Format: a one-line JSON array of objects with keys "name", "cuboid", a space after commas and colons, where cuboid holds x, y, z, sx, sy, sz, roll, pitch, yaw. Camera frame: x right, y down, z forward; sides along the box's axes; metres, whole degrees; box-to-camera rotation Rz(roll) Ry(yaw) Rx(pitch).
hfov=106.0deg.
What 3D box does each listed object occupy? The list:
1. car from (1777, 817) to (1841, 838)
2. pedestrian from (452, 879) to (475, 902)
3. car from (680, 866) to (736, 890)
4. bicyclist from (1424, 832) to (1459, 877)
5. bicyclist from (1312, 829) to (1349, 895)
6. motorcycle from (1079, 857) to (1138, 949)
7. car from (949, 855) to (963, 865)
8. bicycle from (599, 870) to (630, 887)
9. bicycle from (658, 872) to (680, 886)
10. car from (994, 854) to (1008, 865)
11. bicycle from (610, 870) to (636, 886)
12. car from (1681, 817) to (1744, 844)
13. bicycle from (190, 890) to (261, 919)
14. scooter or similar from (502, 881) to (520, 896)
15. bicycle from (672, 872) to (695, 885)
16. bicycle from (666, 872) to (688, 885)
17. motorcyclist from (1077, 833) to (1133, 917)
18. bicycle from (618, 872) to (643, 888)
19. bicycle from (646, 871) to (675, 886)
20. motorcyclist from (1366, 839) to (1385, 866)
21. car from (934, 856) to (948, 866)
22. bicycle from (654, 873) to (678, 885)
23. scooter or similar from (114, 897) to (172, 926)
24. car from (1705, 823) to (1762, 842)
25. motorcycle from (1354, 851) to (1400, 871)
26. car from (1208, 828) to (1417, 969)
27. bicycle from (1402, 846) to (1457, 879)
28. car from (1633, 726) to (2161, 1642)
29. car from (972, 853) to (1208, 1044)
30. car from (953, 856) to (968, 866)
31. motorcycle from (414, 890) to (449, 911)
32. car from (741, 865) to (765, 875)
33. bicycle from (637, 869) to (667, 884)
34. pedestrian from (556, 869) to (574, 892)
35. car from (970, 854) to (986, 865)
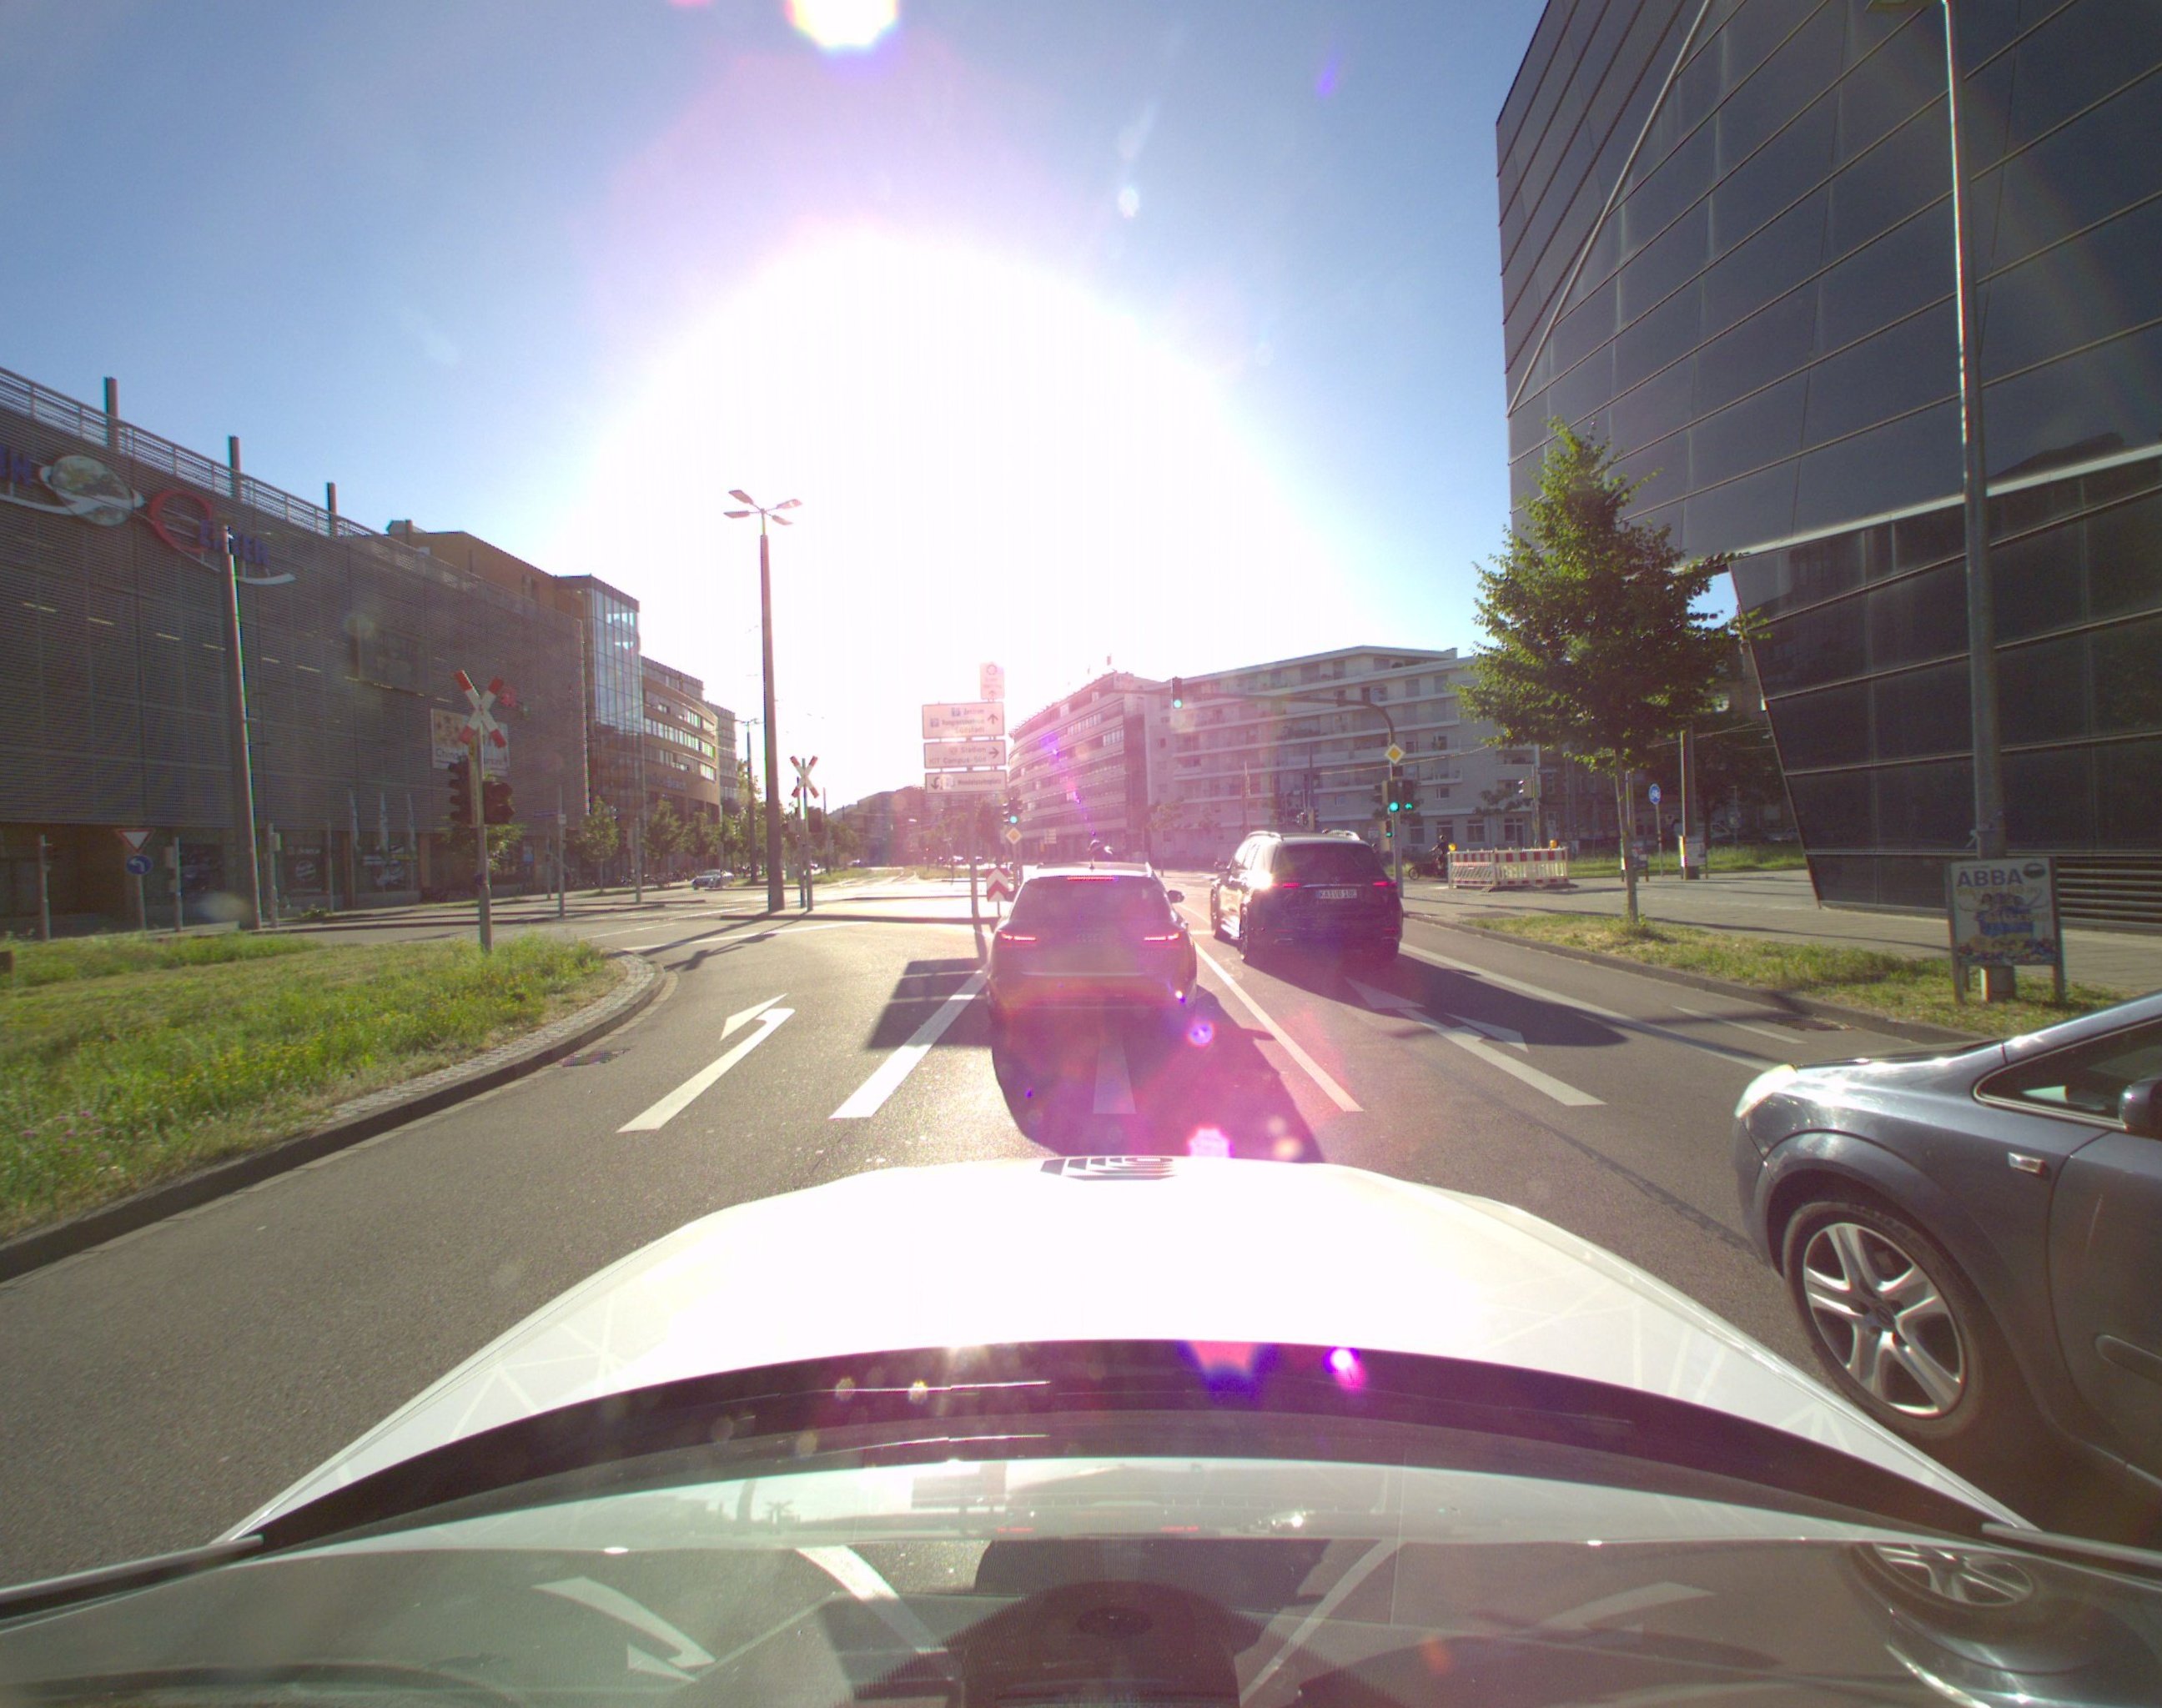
[{"name": "car", "cuboid": [58.519, -2.100, 65.569, 1.981, 1.486, 4.012, -3, -1, 11]}, {"name": "pedestrian", "cuboid": [-44.251, 2.611, 58.347, 0.984, 1.566, 0.829, -3, -1, 1]}, {"name": "car", "cuboid": [-27.886, 1.747, 61.100, 1.987, 1.545, 4.530, -2, 0, 0]}, {"name": "bicyclist", "cuboid": [14.197, 0.013, 32.074, 0.769, 1.706, 0.923, -2, 0, -22]}, {"name": "bicyclist", "cuboid": [6.376, 0.200, 20.861, 0.651, 1.642, 0.973, -2, 0, 5]}, {"name": "motorcycle", "cuboid": [0.461, 0.763, 13.559, 0.859, 1.393, 1.894, -2, 0, 2]}, {"name": "car", "cuboid": [-22.468, 1.096, 146.370, 1.998, 1.706, 3.977, -3, -1, -16]}, {"name": "bicycle", "cuboid": [-43.863, 2.300, 76.559, 2.355, 1.433, 1.079, -3, -1, 10]}, {"name": "bicycle", "cuboid": [-47.371, 2.887, 93.572, 2.231, 1.433, 0.720, -3, -1, 10]}, {"name": "car", "cuboid": [-14.707, 1.080, 150.008, 1.996, 1.838, 3.981, -3, -1, -14]}, {"name": "bicycle", "cuboid": [-43.667, 2.270, 77.629, 2.070, 1.433, 0.863, -3, -1, 10]}, {"name": "car", "cuboid": [58.872, -2.151, 76.027, 4.543, 2.310, 2.013, -2, 0, 37]}, {"name": "bicycle", "cuboid": [-41.883, 2.467, 39.919, 0.796, 1.220, 2.418, -2, 0, 5]}, {"name": "scooter or similar", "cuboid": [-42.947, 2.594, 61.377, 0.419, 1.110, 1.153, -3, -1, 2]}, {"name": "bicycle", "cuboid": [-47.256, 2.912, 96.784, 2.405, 1.433, 0.791, -3, -1, 10]}, {"name": "bicycle", "cuboid": [-47.423, 2.855, 95.613, 2.125, 1.433, 0.761, -3, -1, 10]}, {"name": "motorcyclist", "cuboid": [0.399, 0.344, 13.527, 0.859, 1.326, 0.681, -2, 0, 1]}, {"name": "bicycle", "cuboid": [-43.580, 2.482, 78.734, 1.965, 1.433, 0.809, -3, -1, 10]}, {"name": "bicycle", "cuboid": [-43.778, 2.553, 84.775, 2.546, 1.433, 0.907, -3, -1, 10]}, {"name": "motorcyclist", "cuboid": [17.035, -0.098, 47.164, 0.917, 1.481, 1.177, -2, 0, 18]}, {"name": "car", "cuboid": [-25.097, 1.286, 145.758, 1.998, 1.706, 3.977, -3, -1, -16]}, {"name": "bicycle", "cuboid": [-47.251, 2.884, 92.719, 2.399, 1.236, 0.747, -3, -1, 10]}, {"name": "scooter or similar", "cuboid": [-43.719, 2.677, 37.979, 0.790, 1.207, 1.575, -3, -1, 2]}, {"name": "car", "cuboid": [54.204, -1.757, 67.765, 1.981, 1.354, 4.012, -3, -1, 11]}, {"name": "motorcycle", "cuboid": [17.102, 0.403, 47.164, 2.433, 1.000, 1.177, -2, 0, 17]}, {"name": "car", "cuboid": [3.181, 0.531, 12.187, 1.995, 1.715, 4.374, 0, 0, 2]}, {"name": "bicycle", "cuboid": [13.953, 0.355, 32.692, 0.769, 1.262, 2.067, -2, 0, -21]}, {"name": "car", "cuboid": [2.858, 0.610, 0.859, 1.739, 1.696, 4.261, 0, 0, 1]}, {"name": "car", "cuboid": [0.120, 0.734, 8.355, 1.835, 1.454, 4.001, 0, 0, 1]}, {"name": "car", "cuboid": [-20.791, 1.232, 140.408, 1.996, 1.596, 3.981, -3, -1, -14]}, {"name": "motorcycle", "cuboid": [-41.767, 2.968, 52.392, 0.673, 1.238, 1.894, -3, -1, 1]}, {"name": "car", "cuboid": [-63.628, 3.080, 157.871, 4.010, 1.706, 1.982, -3, -1, -28]}, {"name": "bicycle", "cuboid": [-43.451, 2.274, 82.520, 2.546, 1.433, 0.907, -3, -1, 10]}, {"name": "pedestrian", "cuboid": [-42.709, 2.217, 67.440, 0.823, 1.824, 0.905, -3, -1, 3]}, {"name": "car", "cuboid": [-17.420, 0.974, 137.941, 1.999, 1.596, 3.976, -3, -1, -18]}]
